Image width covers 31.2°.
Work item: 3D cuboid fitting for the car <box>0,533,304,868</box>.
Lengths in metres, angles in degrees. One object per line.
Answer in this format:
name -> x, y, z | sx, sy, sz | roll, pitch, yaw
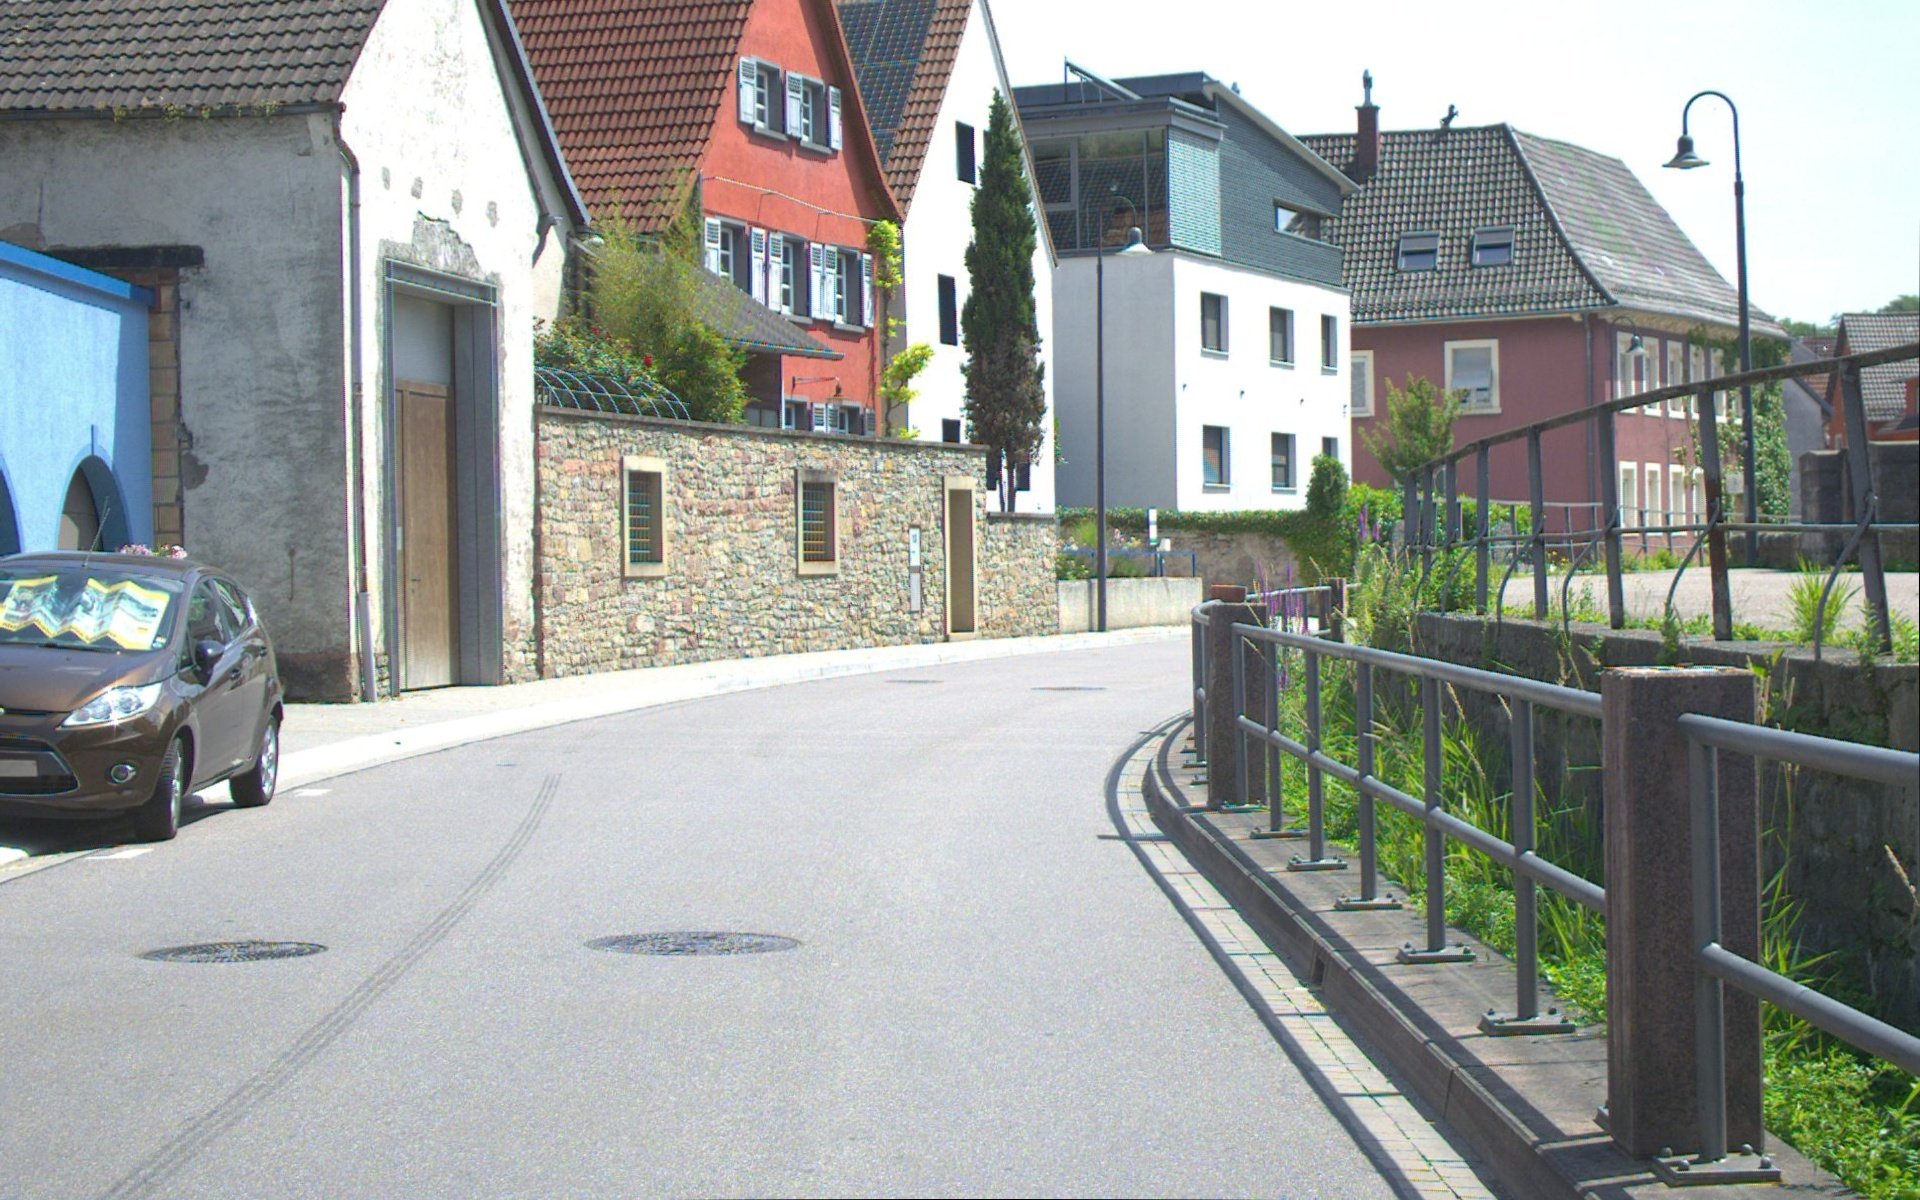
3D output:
car -> -4.886, 0.462, 19.033 | 1.717, 1.524, 3.857 | 5, 1, -1
